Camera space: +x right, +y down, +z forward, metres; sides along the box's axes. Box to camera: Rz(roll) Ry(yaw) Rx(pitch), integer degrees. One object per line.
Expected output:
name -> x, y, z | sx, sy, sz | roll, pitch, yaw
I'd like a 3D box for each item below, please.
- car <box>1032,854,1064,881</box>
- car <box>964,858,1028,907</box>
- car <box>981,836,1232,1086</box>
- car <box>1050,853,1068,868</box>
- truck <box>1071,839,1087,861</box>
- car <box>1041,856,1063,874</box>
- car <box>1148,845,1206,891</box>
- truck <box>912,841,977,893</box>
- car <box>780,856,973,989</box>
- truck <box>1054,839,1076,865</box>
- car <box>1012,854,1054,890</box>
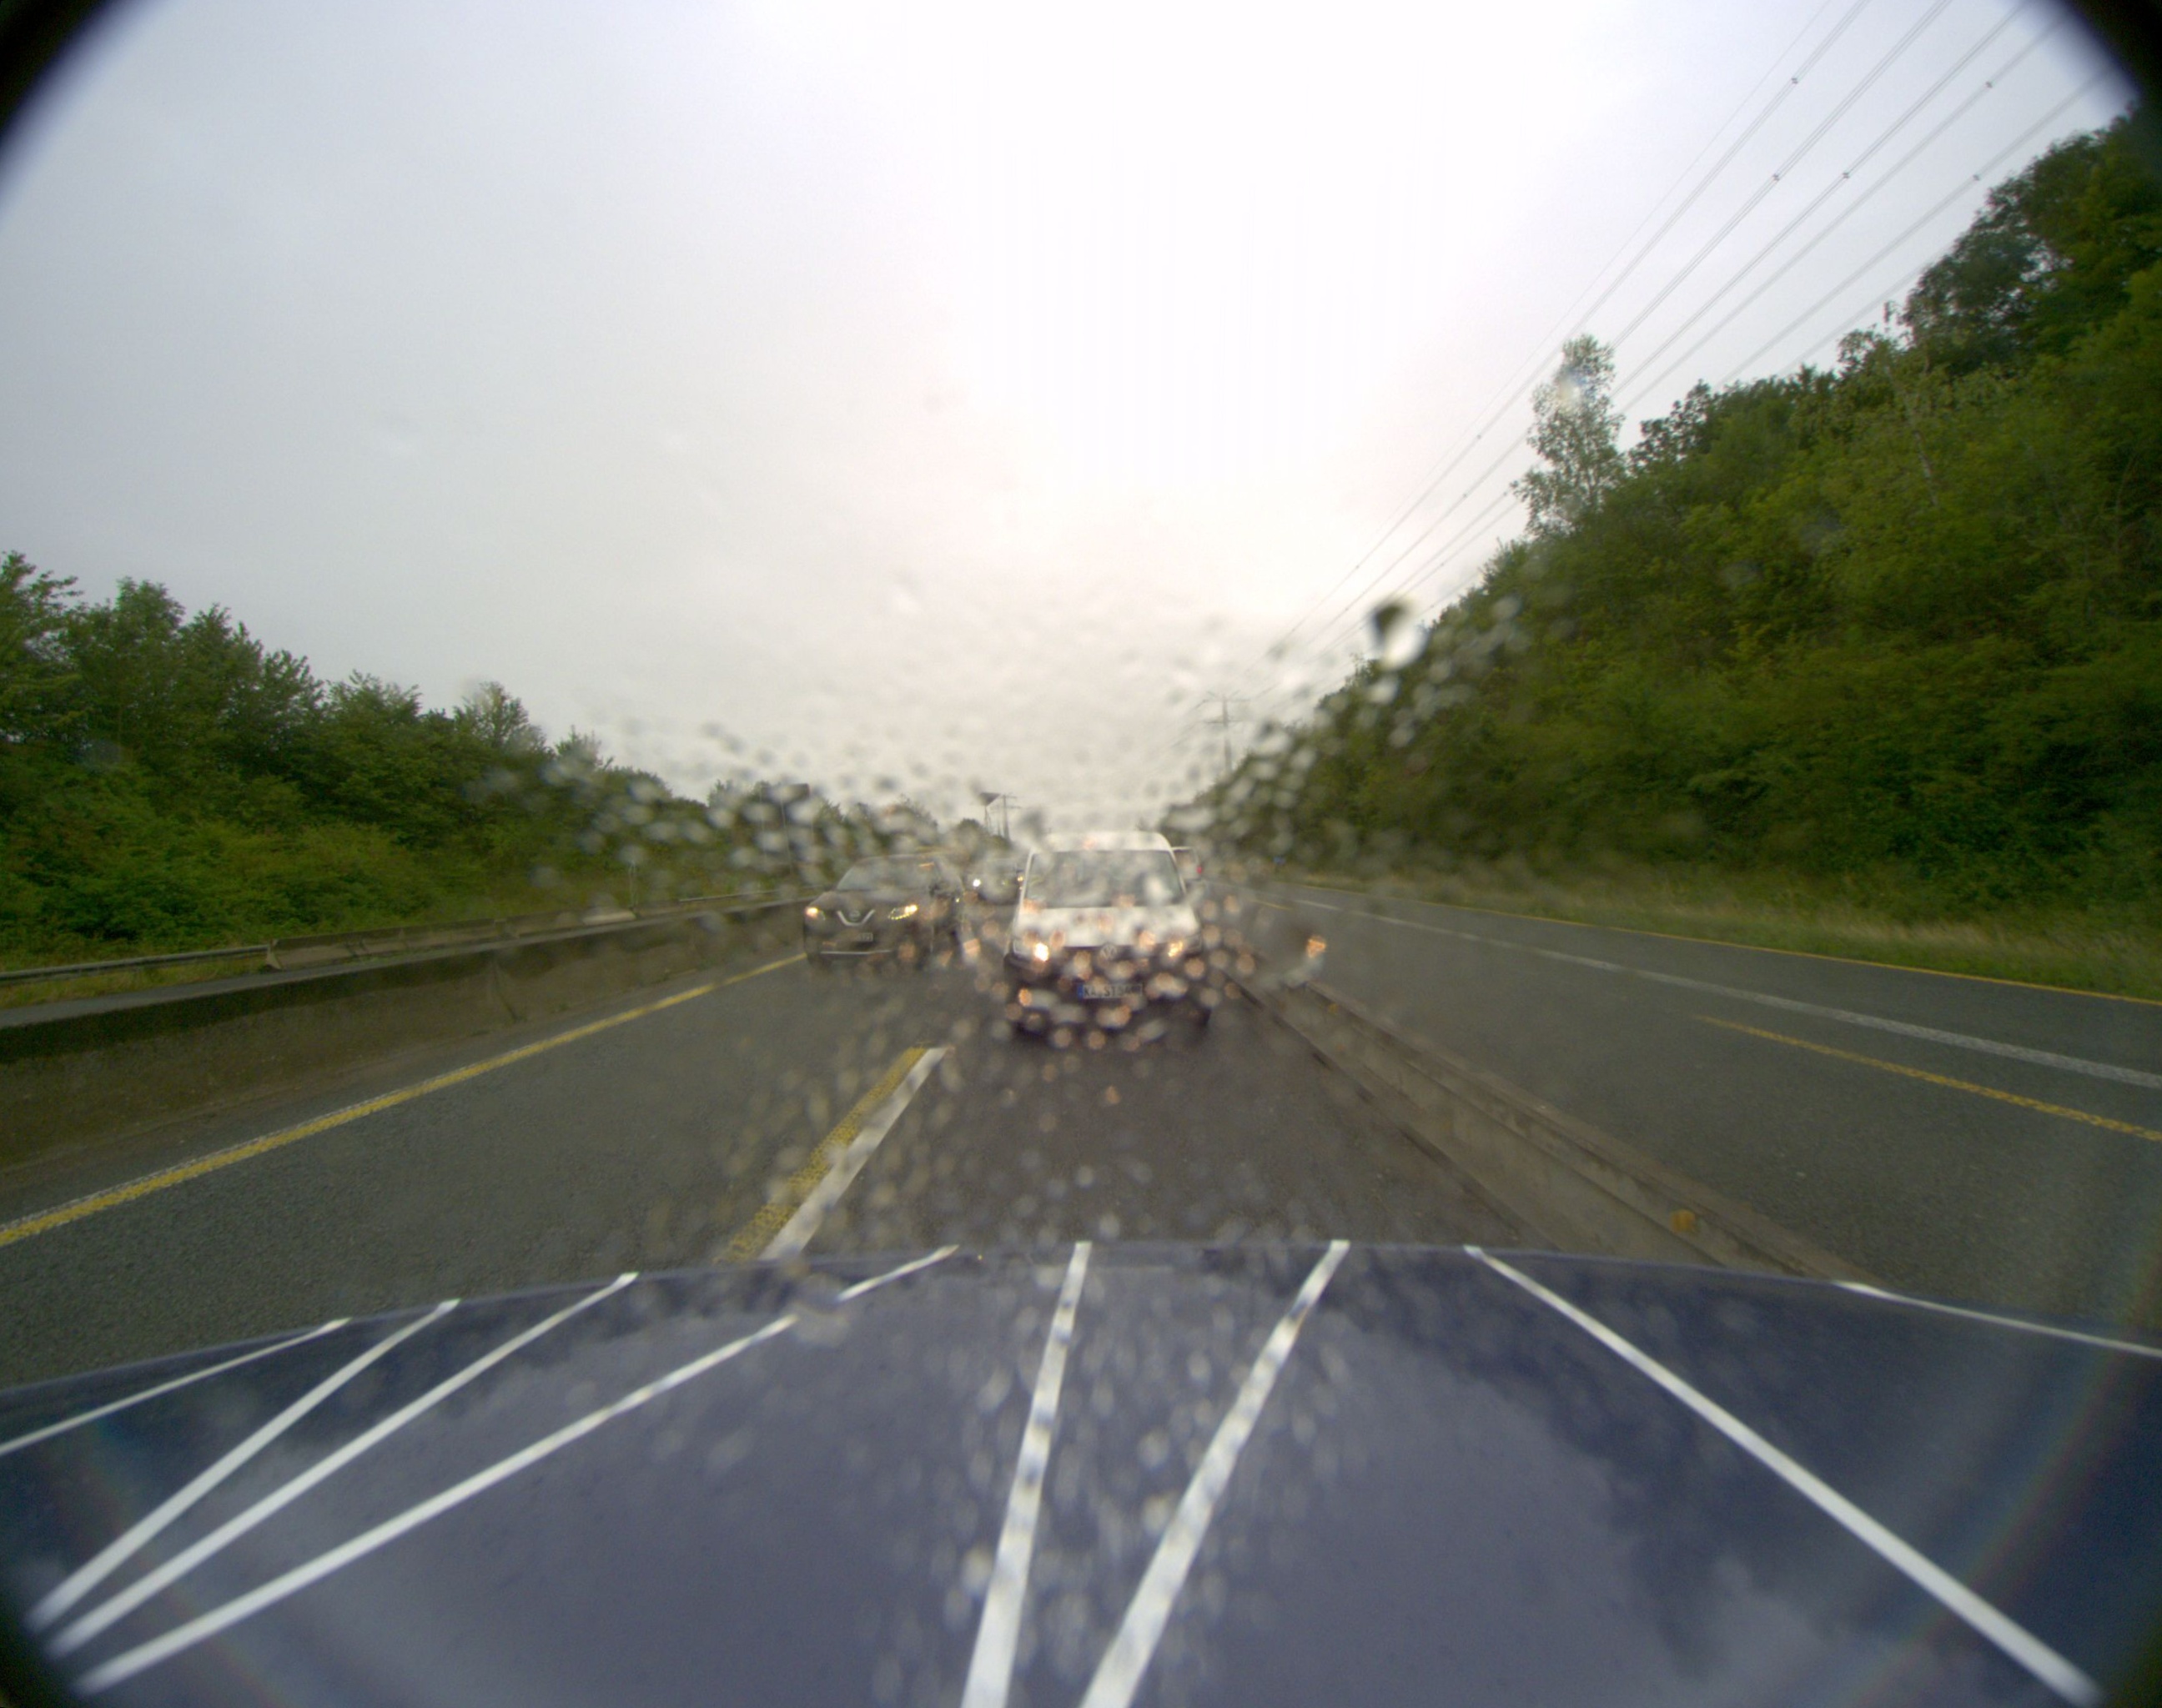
car -> -2.012, 0.799, 47.510 | 1.784, 1.482, 4.123 | -2, 1, 0
car -> -2.931, 0.944, 26.976 | 1.784, 1.482, 4.123 | -2, 1, 0
car -> 0.179, 0.765, 7.918 | 1.784, 1.775, 4.697 | -2, 1, 0
car -> -2.320, 0.696, 81.130 | 1.784, 1.482, 4.123 | -2, 1, 0
truck -> -0.380, -0.731, 139.693 | 2.619, 3.868, 9.574 | -2, 1, 0
car -> -2.540, 0.958, 67.849 | 1.784, 1.482, 4.123 | -2, 1, 0
car -> 4.078, 0.540, 32.936 | 1.815, 1.813, 4.634 | -2, 1, -1
truck -> -9.854, 0.832, 55.957 | 2.619, 3.404, 9.575 | -2, 1, 2
car -> -3.073, 0.928, 12.530 | 1.894, 1.665, 4.640 | -2, 1, 0
truck -> -2.230, -0.308, 108.734 | 2.619, 3.404, 9.575 | -2, 1, 2
car -> -2.344, 0.861, 37.872 | 1.784, 1.589, 4.123 | -2, 1, 0
